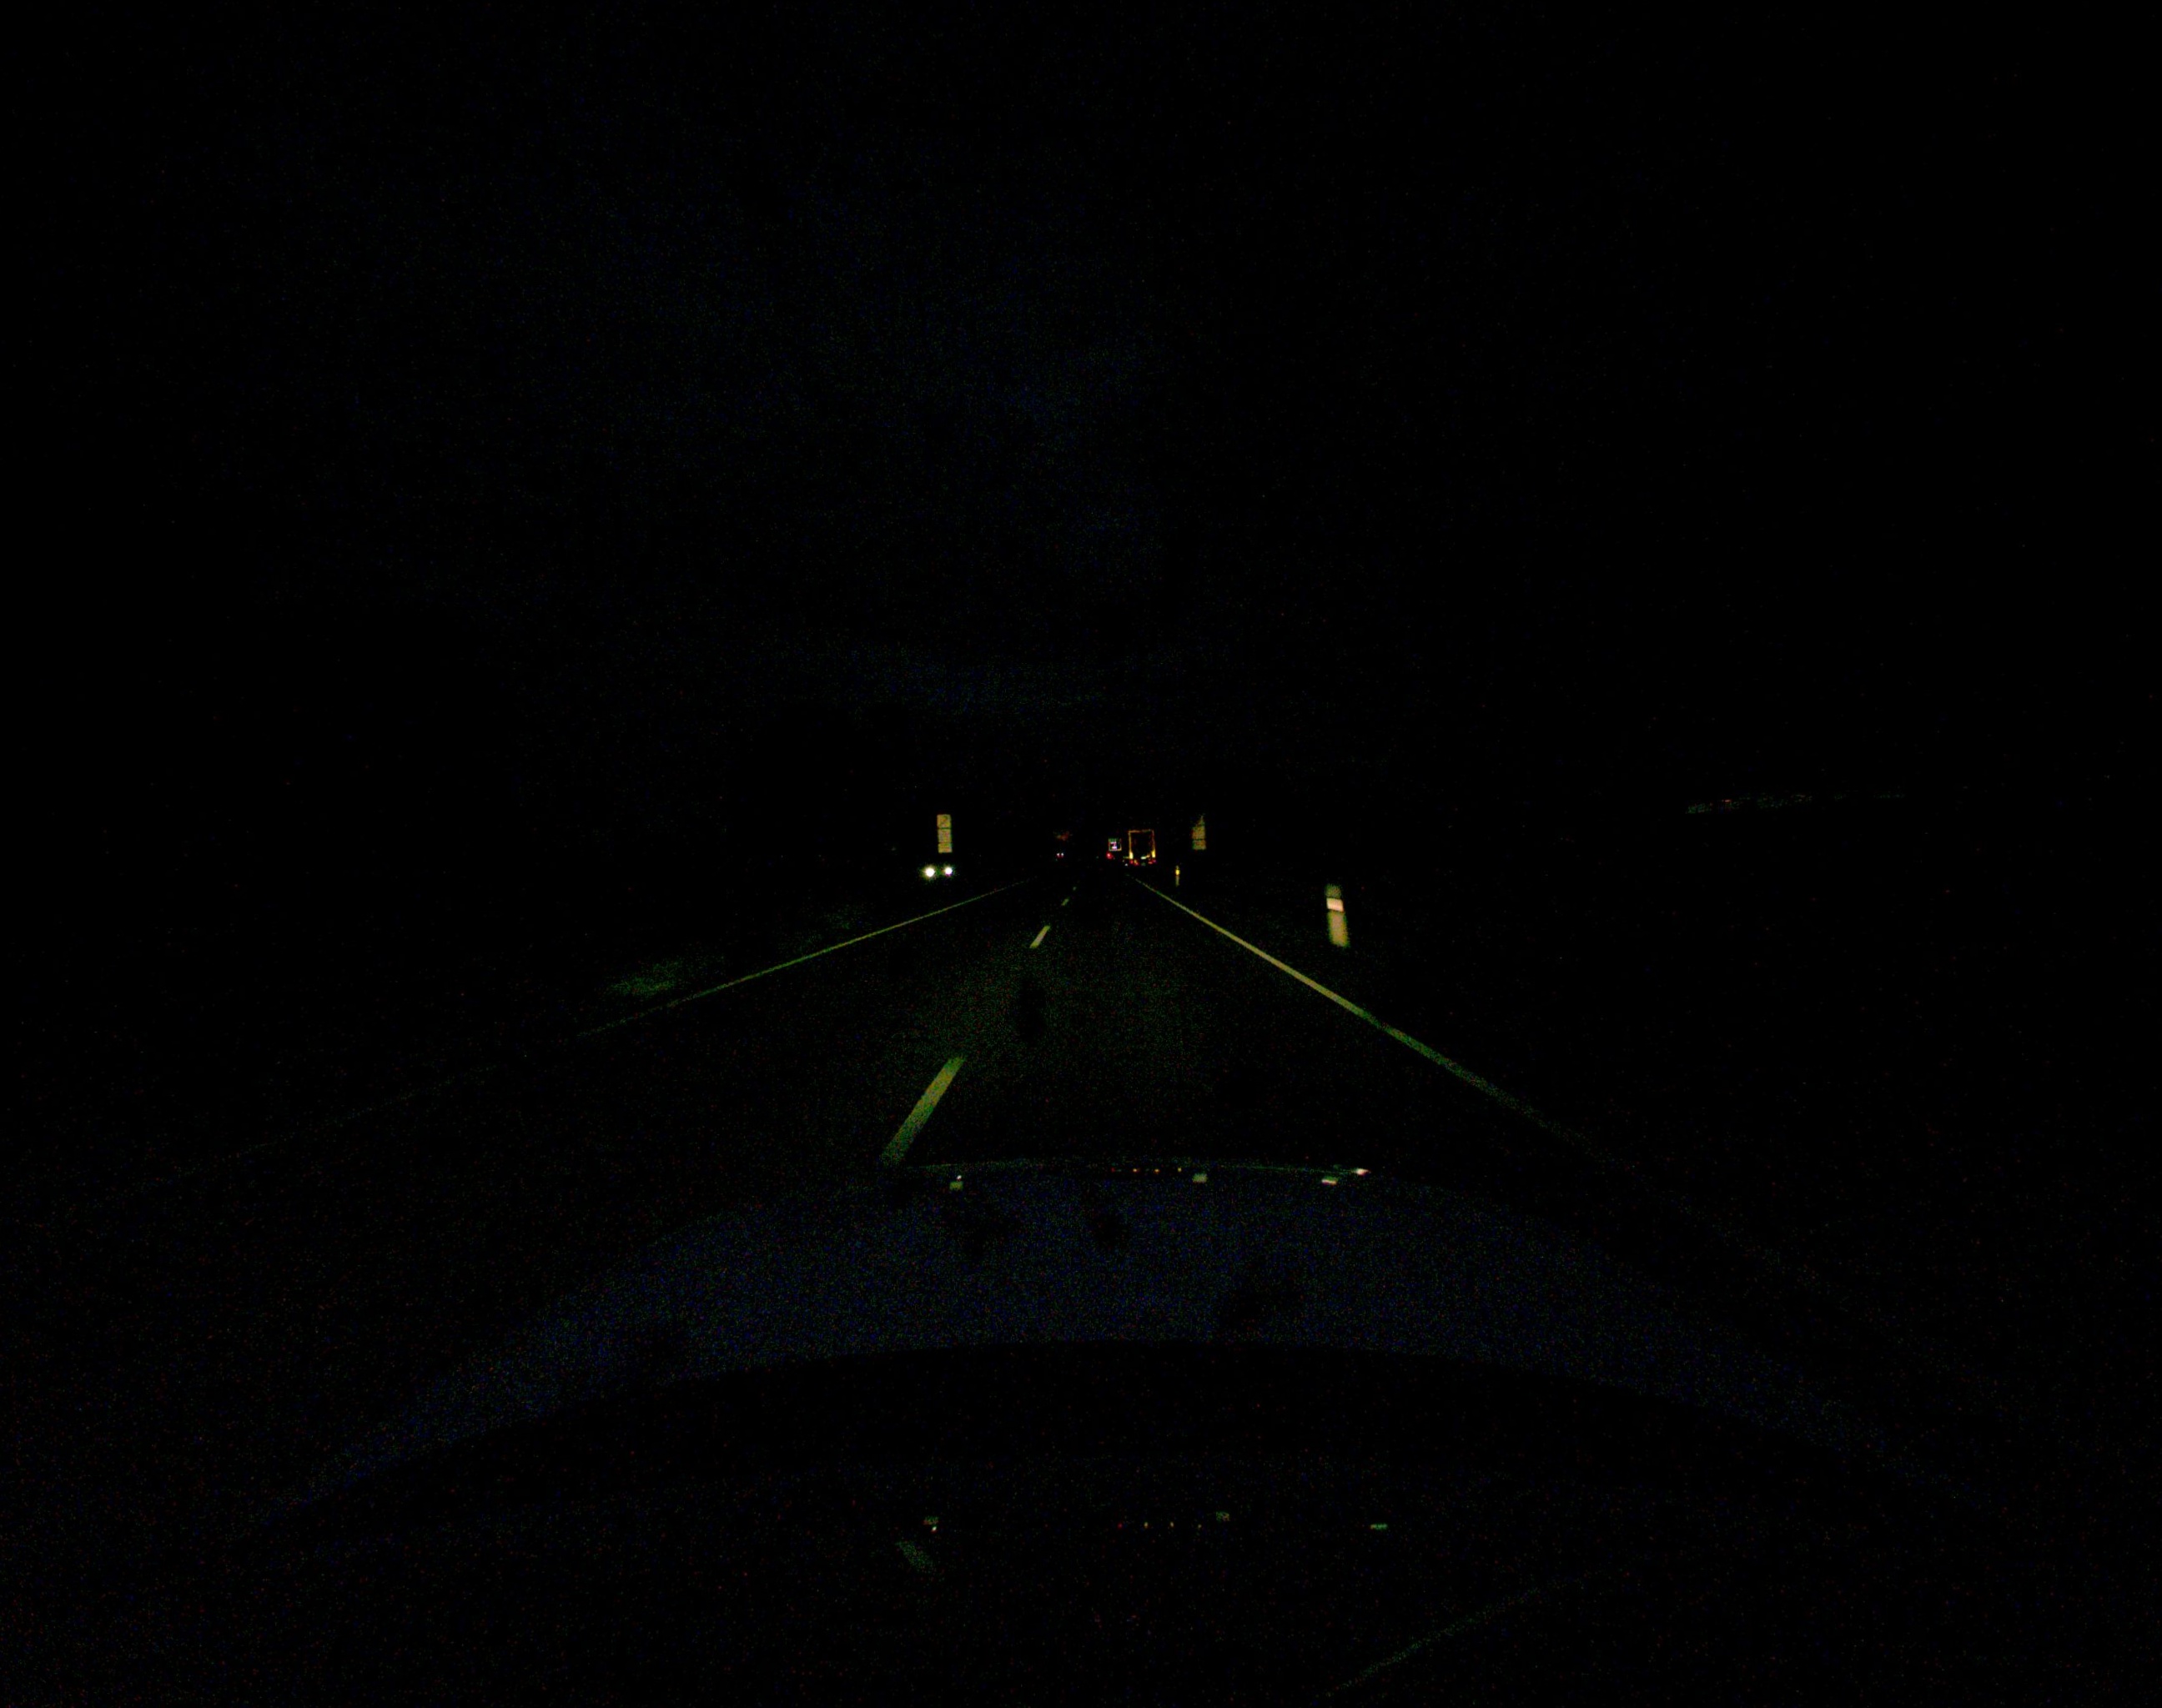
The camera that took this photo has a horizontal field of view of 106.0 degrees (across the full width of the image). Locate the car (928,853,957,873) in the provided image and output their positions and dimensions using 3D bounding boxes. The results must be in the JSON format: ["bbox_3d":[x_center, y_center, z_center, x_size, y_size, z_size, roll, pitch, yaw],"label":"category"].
[{"bbox_3d":[-11.093,0.690,65.569,1.649,1.505,3.999,-1,0,0],"label":"car"}]

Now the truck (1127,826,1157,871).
[{"bbox_3d":[5.840,-0.530,79.114,2.570,4.071,6.133,-1,0,2],"label":"truck"}]

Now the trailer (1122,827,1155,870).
[{"bbox_3d":[5.976,-0.533,85.877,2.613,4.104,12.939,-2,0,1],"label":"trailer"}]
